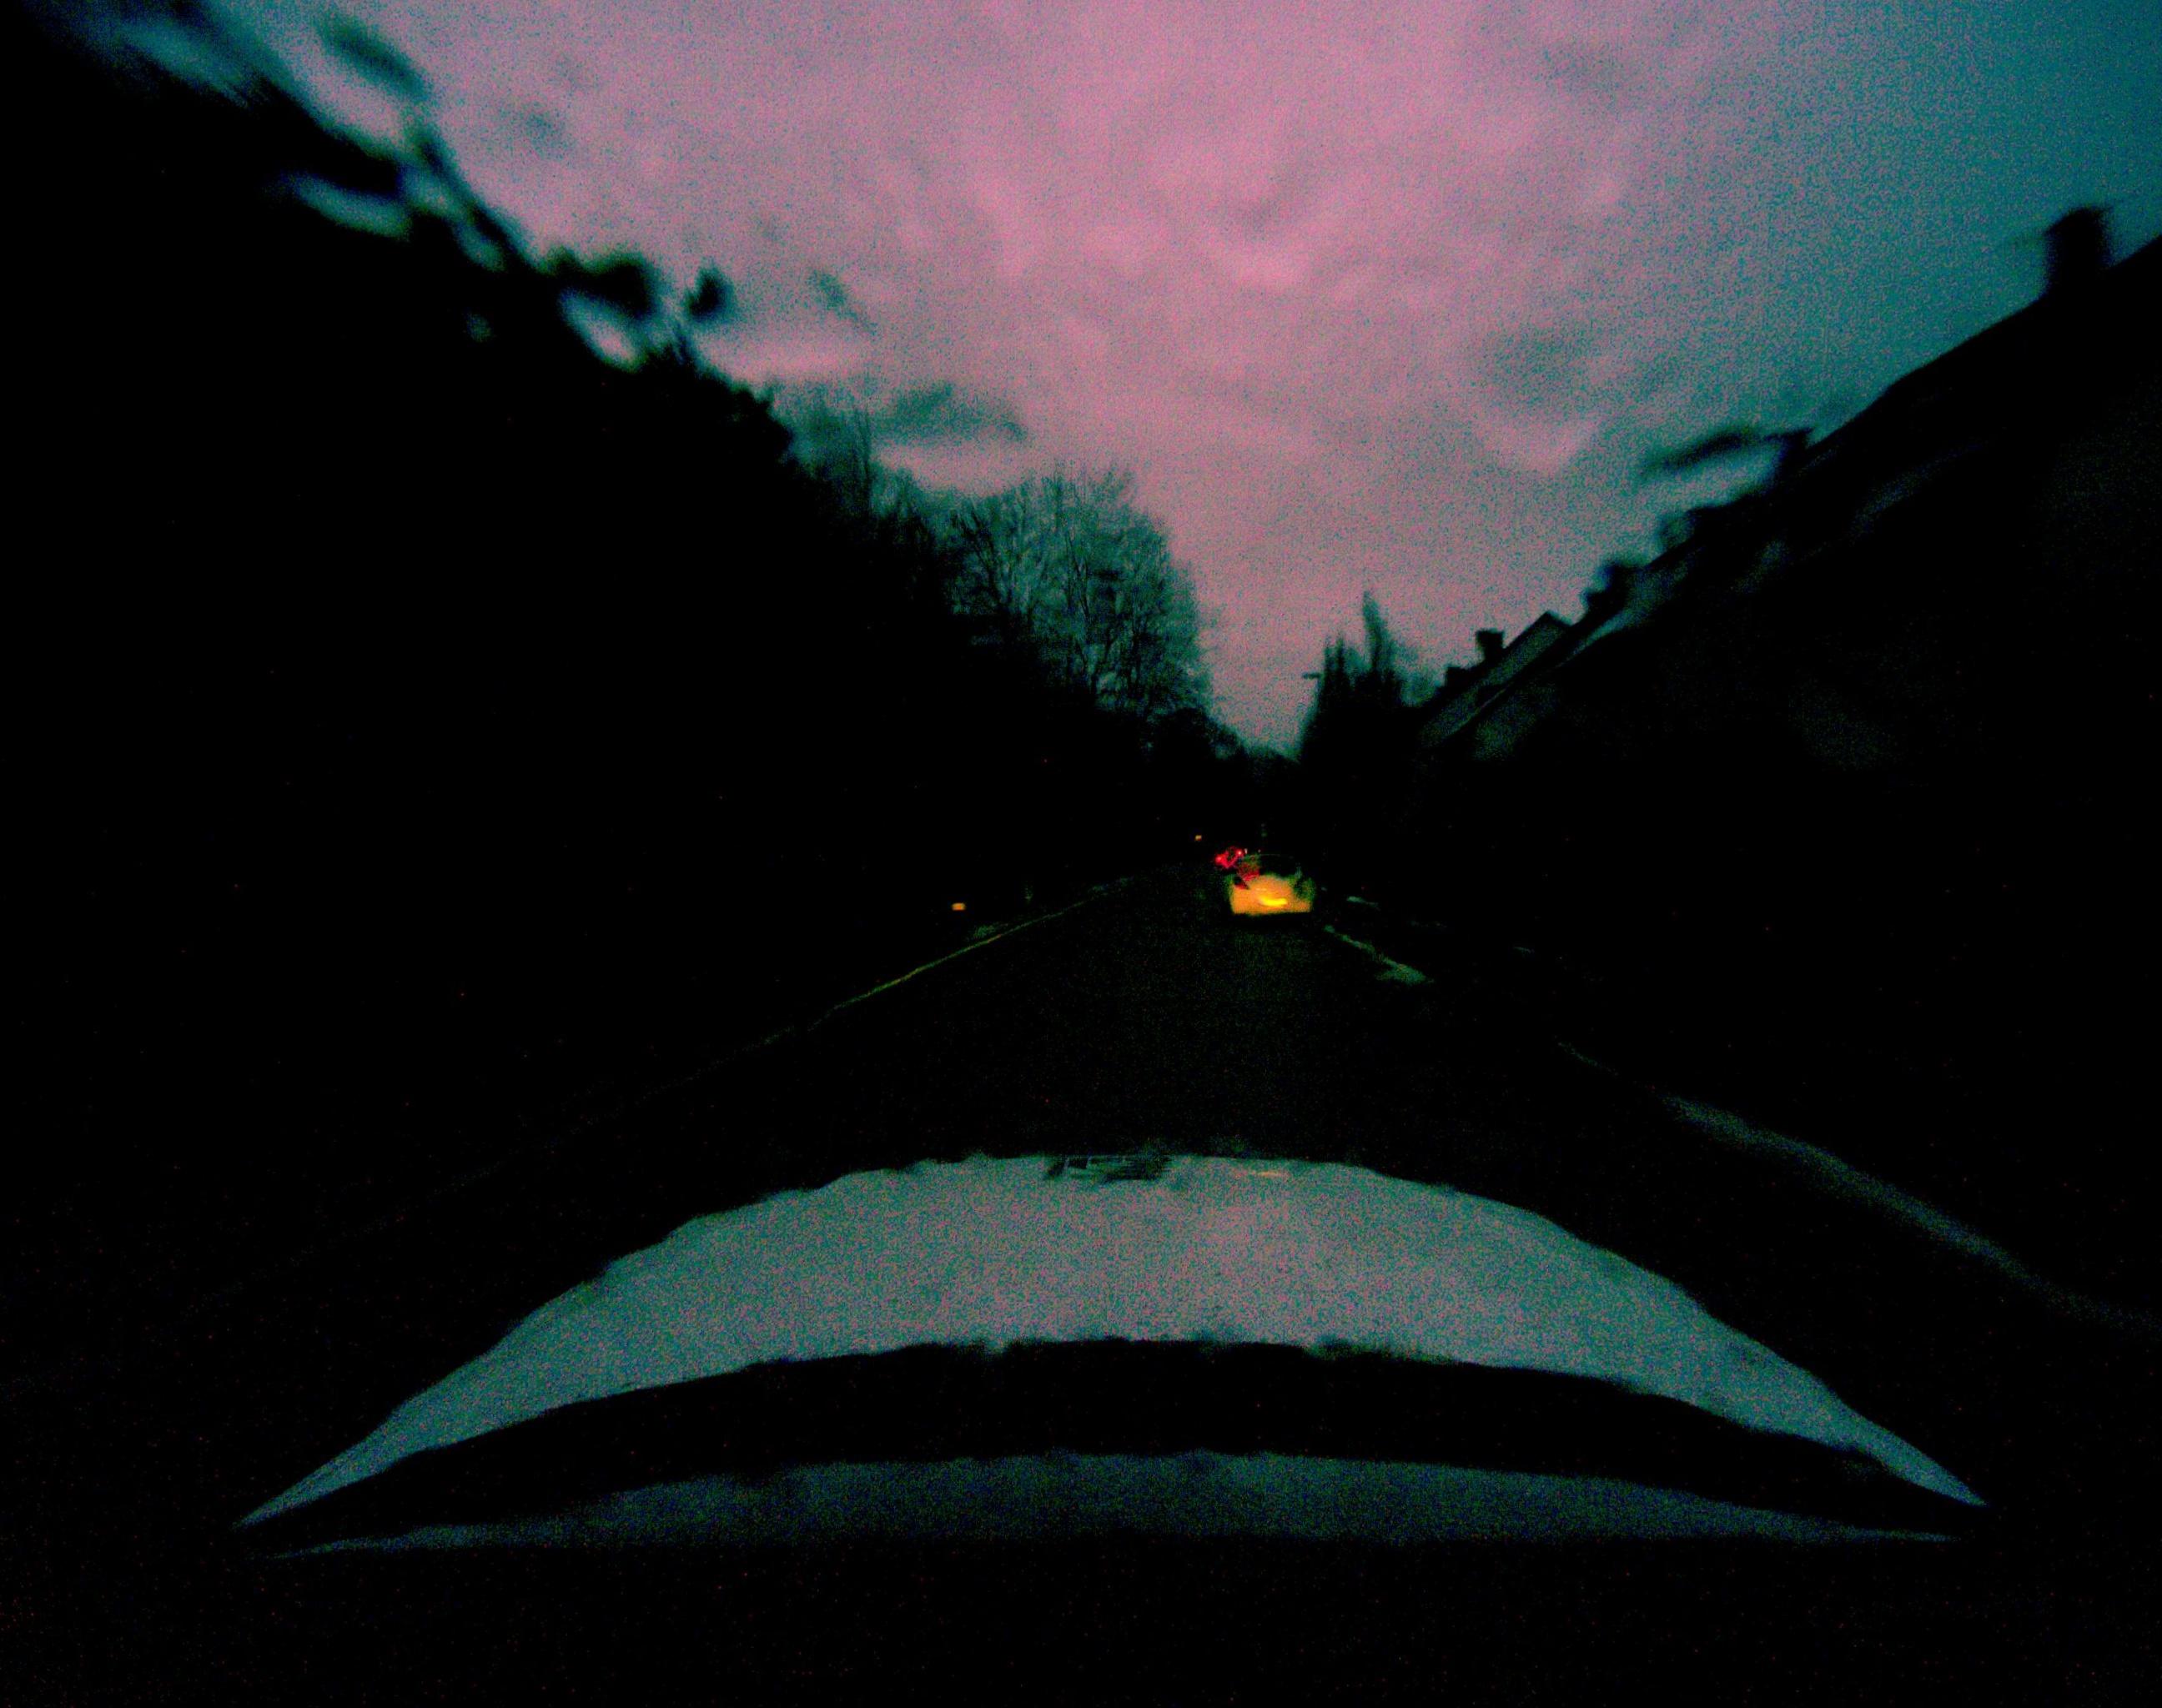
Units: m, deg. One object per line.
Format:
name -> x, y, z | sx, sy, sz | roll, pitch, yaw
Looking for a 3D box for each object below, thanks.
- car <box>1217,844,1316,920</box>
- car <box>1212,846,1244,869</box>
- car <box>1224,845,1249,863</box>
car -> 4.011, 0.567, 18.175 | 1.695, 1.506, 4.031 | -1, 0, 6
car -> 12.128, 0.286, 66.983 | 1.917, 1.781, 4.019 | -2, 0, 18
car -> 16.115, -0.012, 84.239 | 1.675, 1.774, 3.882 | -2, 0, 23
